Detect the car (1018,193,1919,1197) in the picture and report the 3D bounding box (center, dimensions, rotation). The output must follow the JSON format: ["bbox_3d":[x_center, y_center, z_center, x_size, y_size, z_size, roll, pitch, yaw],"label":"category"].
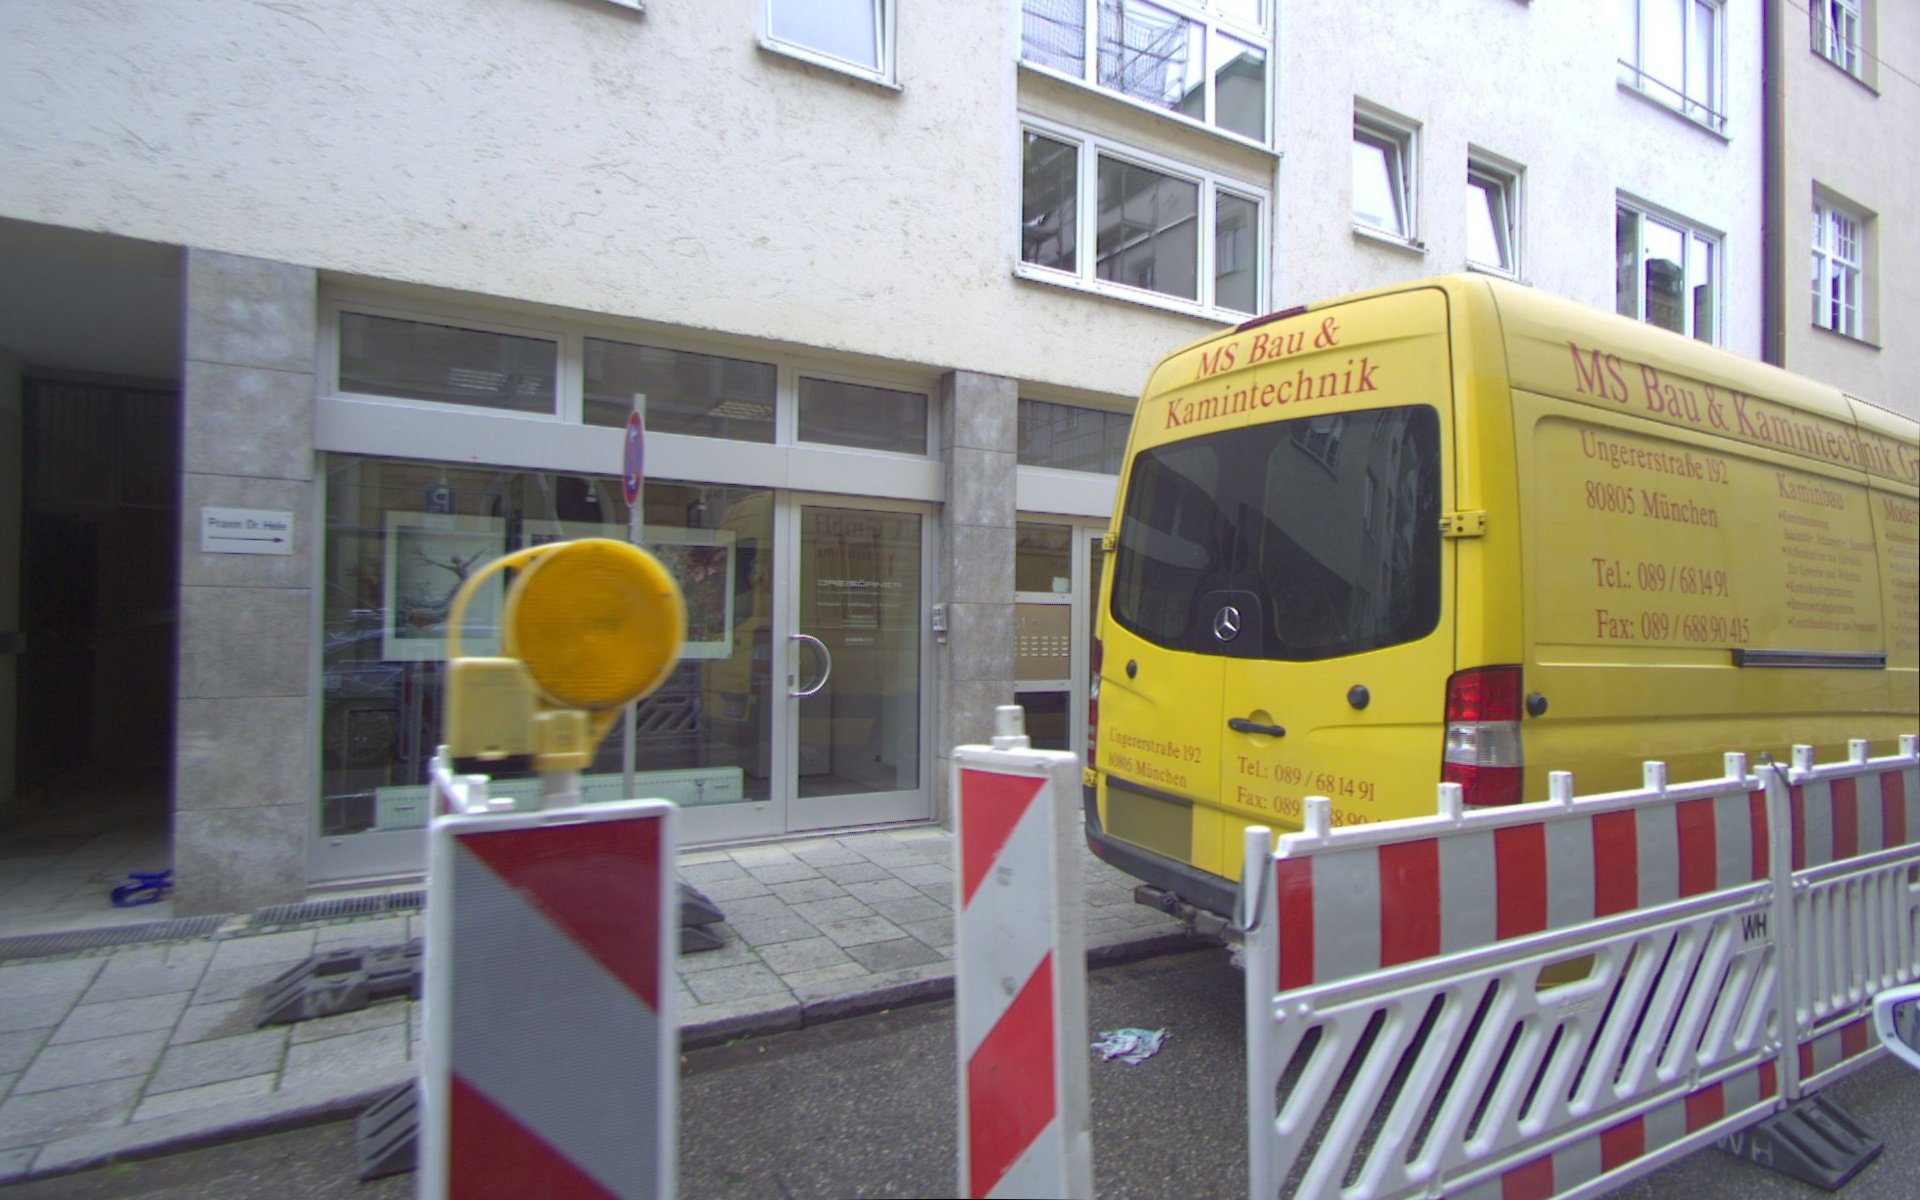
[{"bbox_3d":[3.606,0.335,5.179,6.658,2.612,1.984,2,-2,-31],"label":"car"}]

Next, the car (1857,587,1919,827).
[{"bbox_3d":[10.037,0.889,8.790,4.736,1.922,1.908,2,-4,-31],"label":"car"}]
